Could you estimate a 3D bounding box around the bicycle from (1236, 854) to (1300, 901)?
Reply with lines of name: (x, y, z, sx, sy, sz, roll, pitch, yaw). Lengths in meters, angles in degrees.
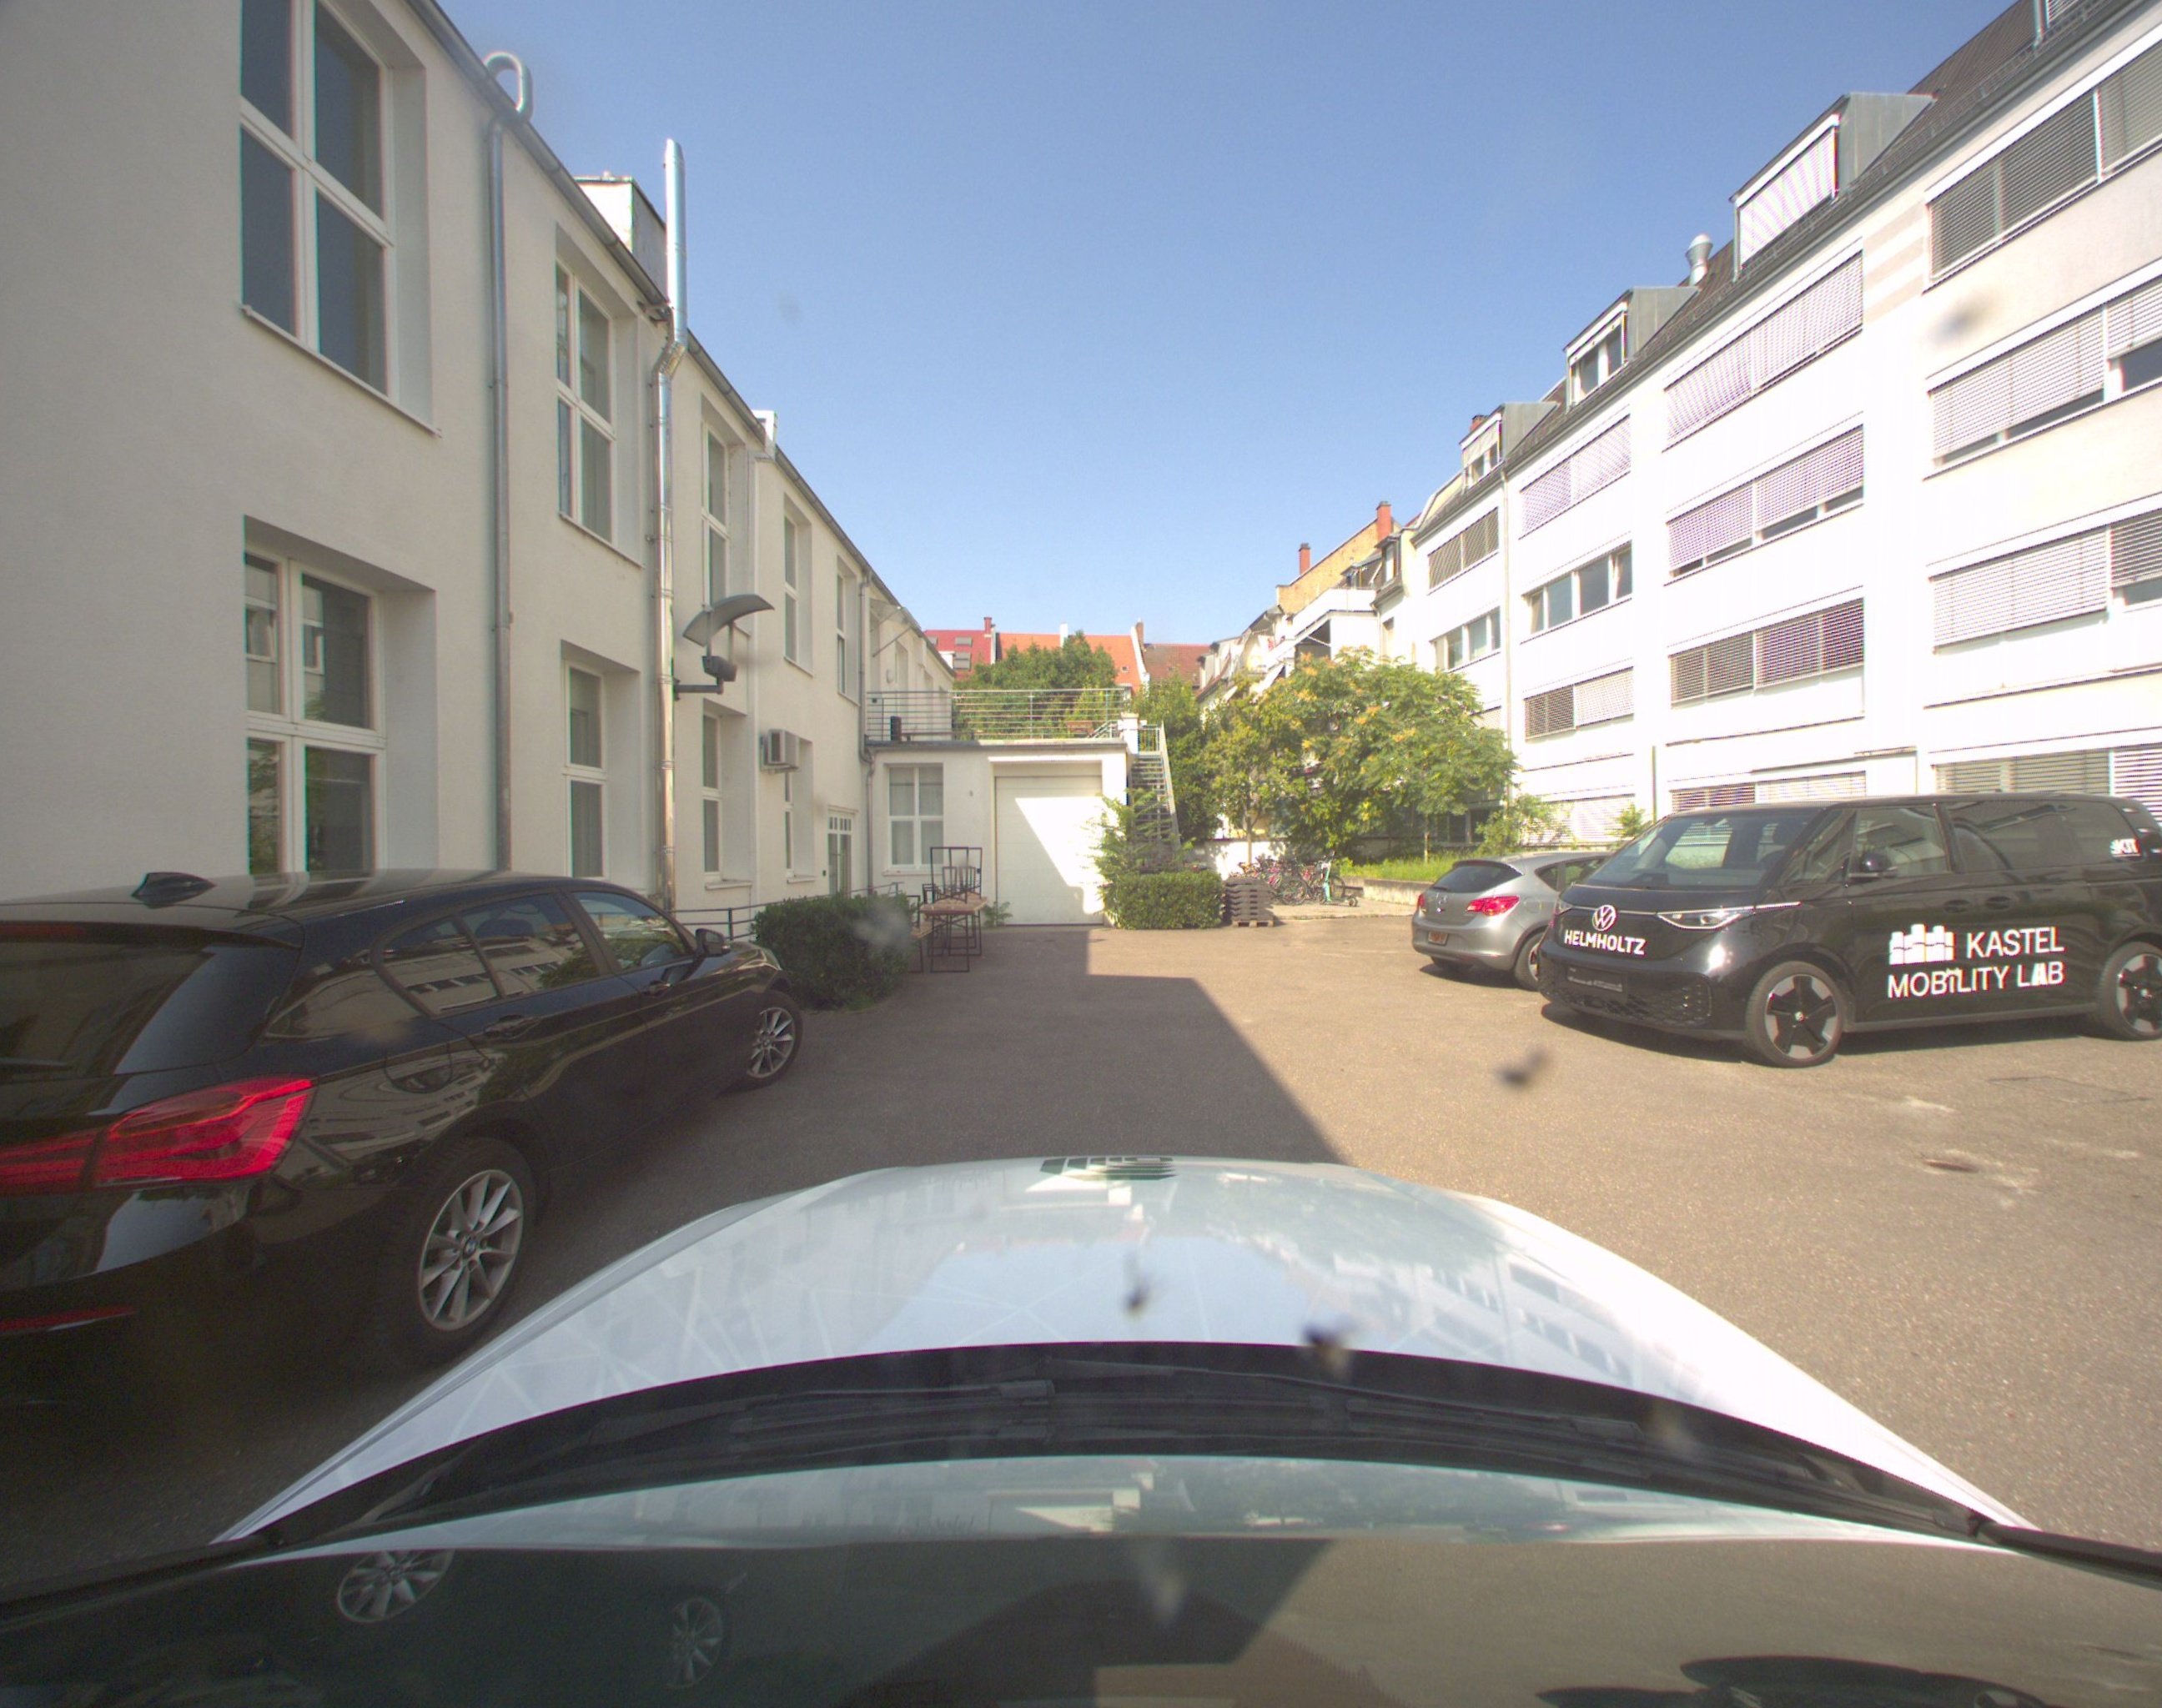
bicycle: (4.968, 0.631, 21.644, 1.611, 1.214, 0.328, -2, 0, 13)

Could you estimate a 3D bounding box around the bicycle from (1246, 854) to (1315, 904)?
bicycle: (5.022, 0.624, 20.535, 1.617, 1.214, 0.327, -2, 0, 2)

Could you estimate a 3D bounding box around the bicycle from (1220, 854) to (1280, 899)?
bicycle: (4.890, 0.643, 23.558, 1.620, 1.214, 0.423, -2, 0, -5)

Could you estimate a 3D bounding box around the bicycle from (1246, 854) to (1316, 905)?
bicycle: (4.951, 0.623, 20.214, 1.617, 1.214, 0.327, -2, 0, 2)

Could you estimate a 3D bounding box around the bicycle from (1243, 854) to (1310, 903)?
bicycle: (4.997, 0.626, 20.829, 1.617, 1.214, 0.327, -2, 0, 2)

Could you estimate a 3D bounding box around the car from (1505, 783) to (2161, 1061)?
car: (6.133, 0.427, 6.633, 4.499, 1.794, 1.877, -1, -1, -9)

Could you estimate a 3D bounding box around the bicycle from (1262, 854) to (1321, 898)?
bicycle: (6.100, 0.633, 23.639, 1.612, 1.214, 0.425, -2, 0, 13)

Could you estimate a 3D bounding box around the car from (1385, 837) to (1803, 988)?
car: (5.848, 0.605, 9.519, 3.931, 1.482, 1.769, -1, -1, -9)

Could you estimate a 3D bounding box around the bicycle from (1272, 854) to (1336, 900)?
bicycle: (6.026, 0.625, 22.037, 1.611, 1.214, 0.425, -2, 0, 13)

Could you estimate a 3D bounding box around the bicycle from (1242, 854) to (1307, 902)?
bicycle: (5.040, 0.628, 21.280, 1.613, 1.214, 0.328, -2, 0, 10)

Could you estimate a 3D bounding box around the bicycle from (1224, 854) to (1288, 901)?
bicycle: (4.791, 0.637, 22.322, 1.618, 1.214, 0.424, -2, 0, -1)

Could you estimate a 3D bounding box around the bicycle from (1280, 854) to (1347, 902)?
bicycle: (6.039, 0.619, 21.176, 1.611, 1.214, 0.328, -2, 0, 15)

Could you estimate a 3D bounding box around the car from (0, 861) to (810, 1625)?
car: (-2.652, 0.769, 3.519, 1.683, 1.459, 3.921, 0, 0, -1)

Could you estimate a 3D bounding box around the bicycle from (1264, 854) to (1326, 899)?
bicycle: (5.941, 0.629, 22.613, 1.612, 1.214, 0.425, -2, 0, 13)

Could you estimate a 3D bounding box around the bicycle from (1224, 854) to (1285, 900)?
bicycle: (4.885, 0.639, 22.956, 1.620, 1.214, 0.423, -2, 0, -5)

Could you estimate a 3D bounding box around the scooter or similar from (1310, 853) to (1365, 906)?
scooter or similar: (6.275, 0.617, 19.964, 0.381, 1.261, 1.335, -2, 0, -31)
